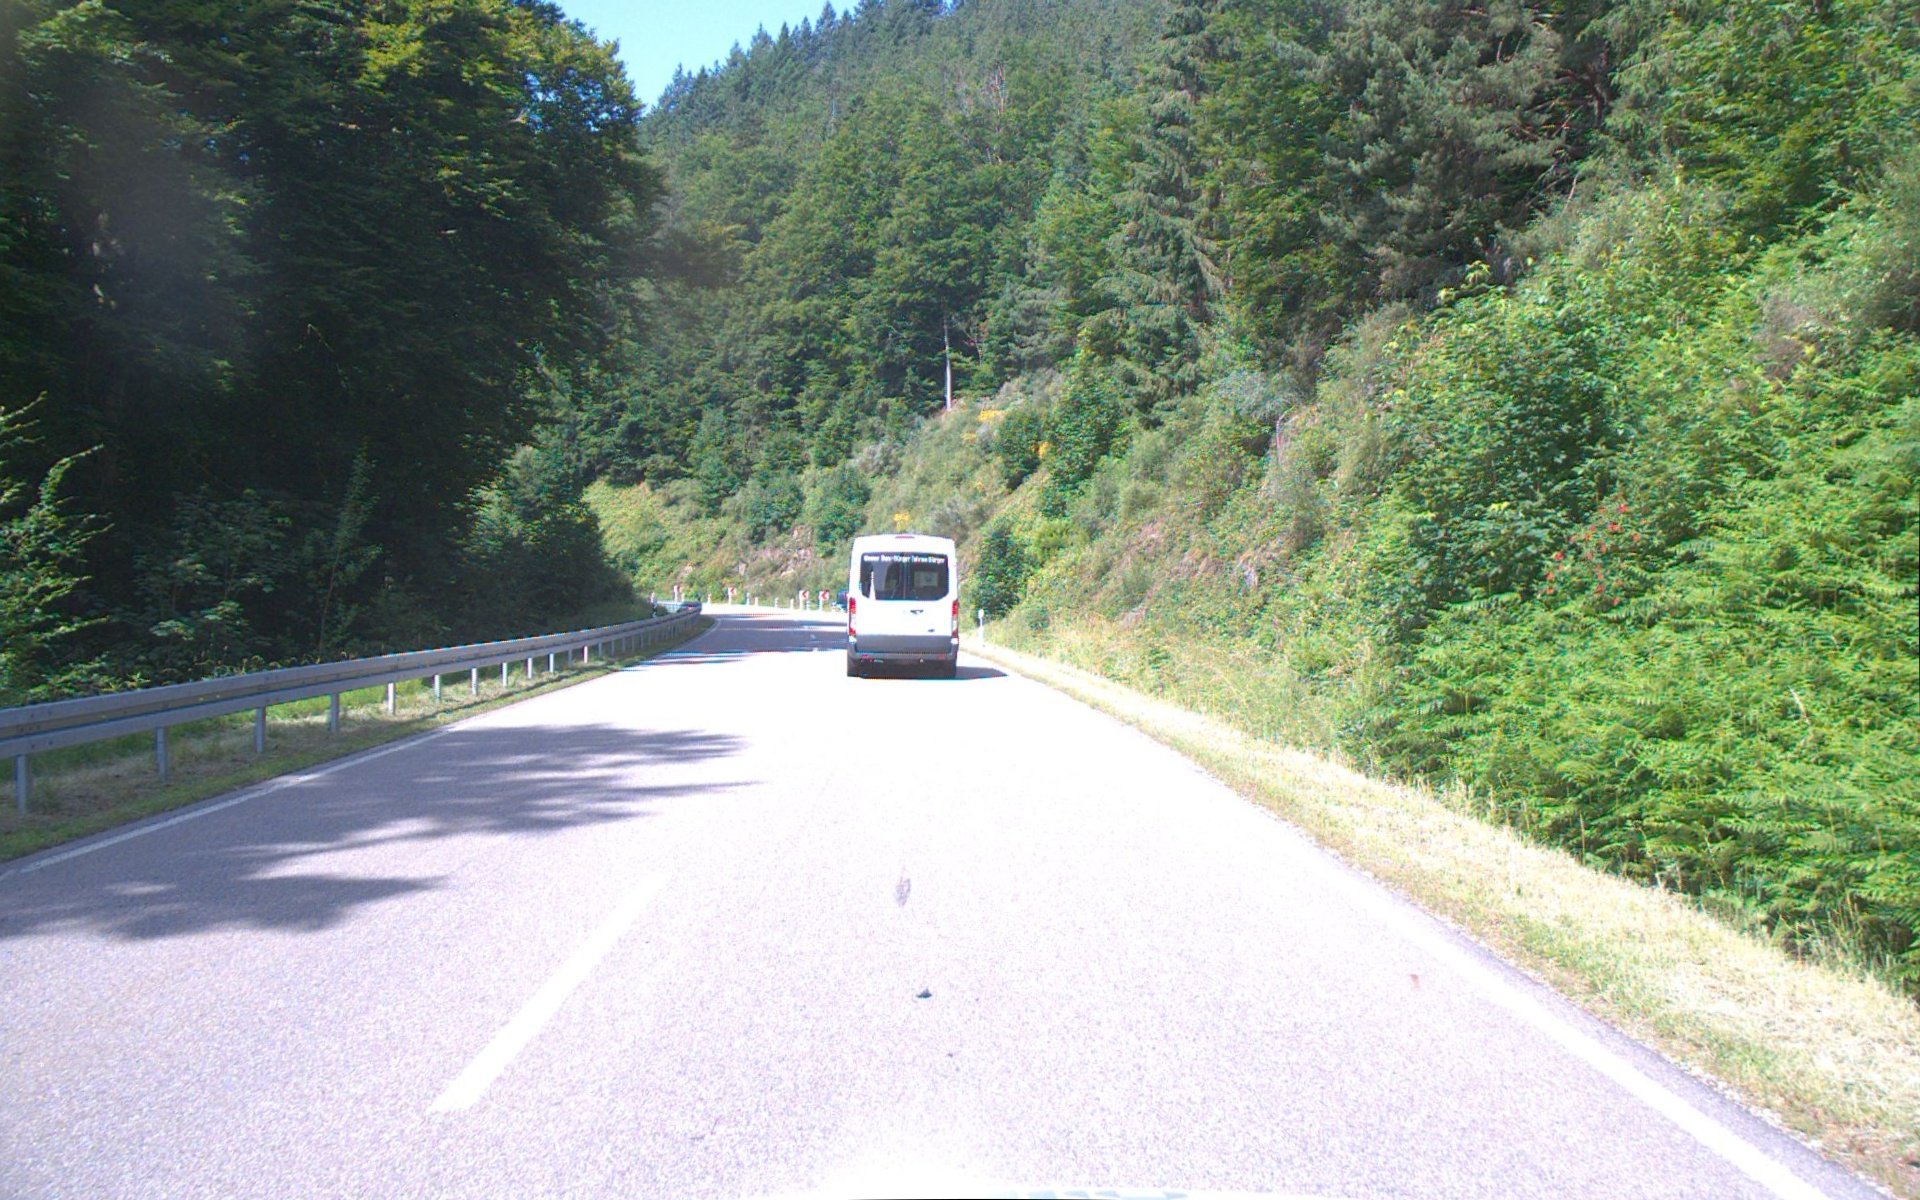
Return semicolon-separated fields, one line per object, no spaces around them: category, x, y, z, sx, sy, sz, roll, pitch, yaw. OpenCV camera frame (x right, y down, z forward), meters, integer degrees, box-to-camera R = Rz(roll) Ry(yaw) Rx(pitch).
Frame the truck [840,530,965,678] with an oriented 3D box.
truck;-1.151;0.072;30.712;2.043;2.503;4.869;0;0;-5
